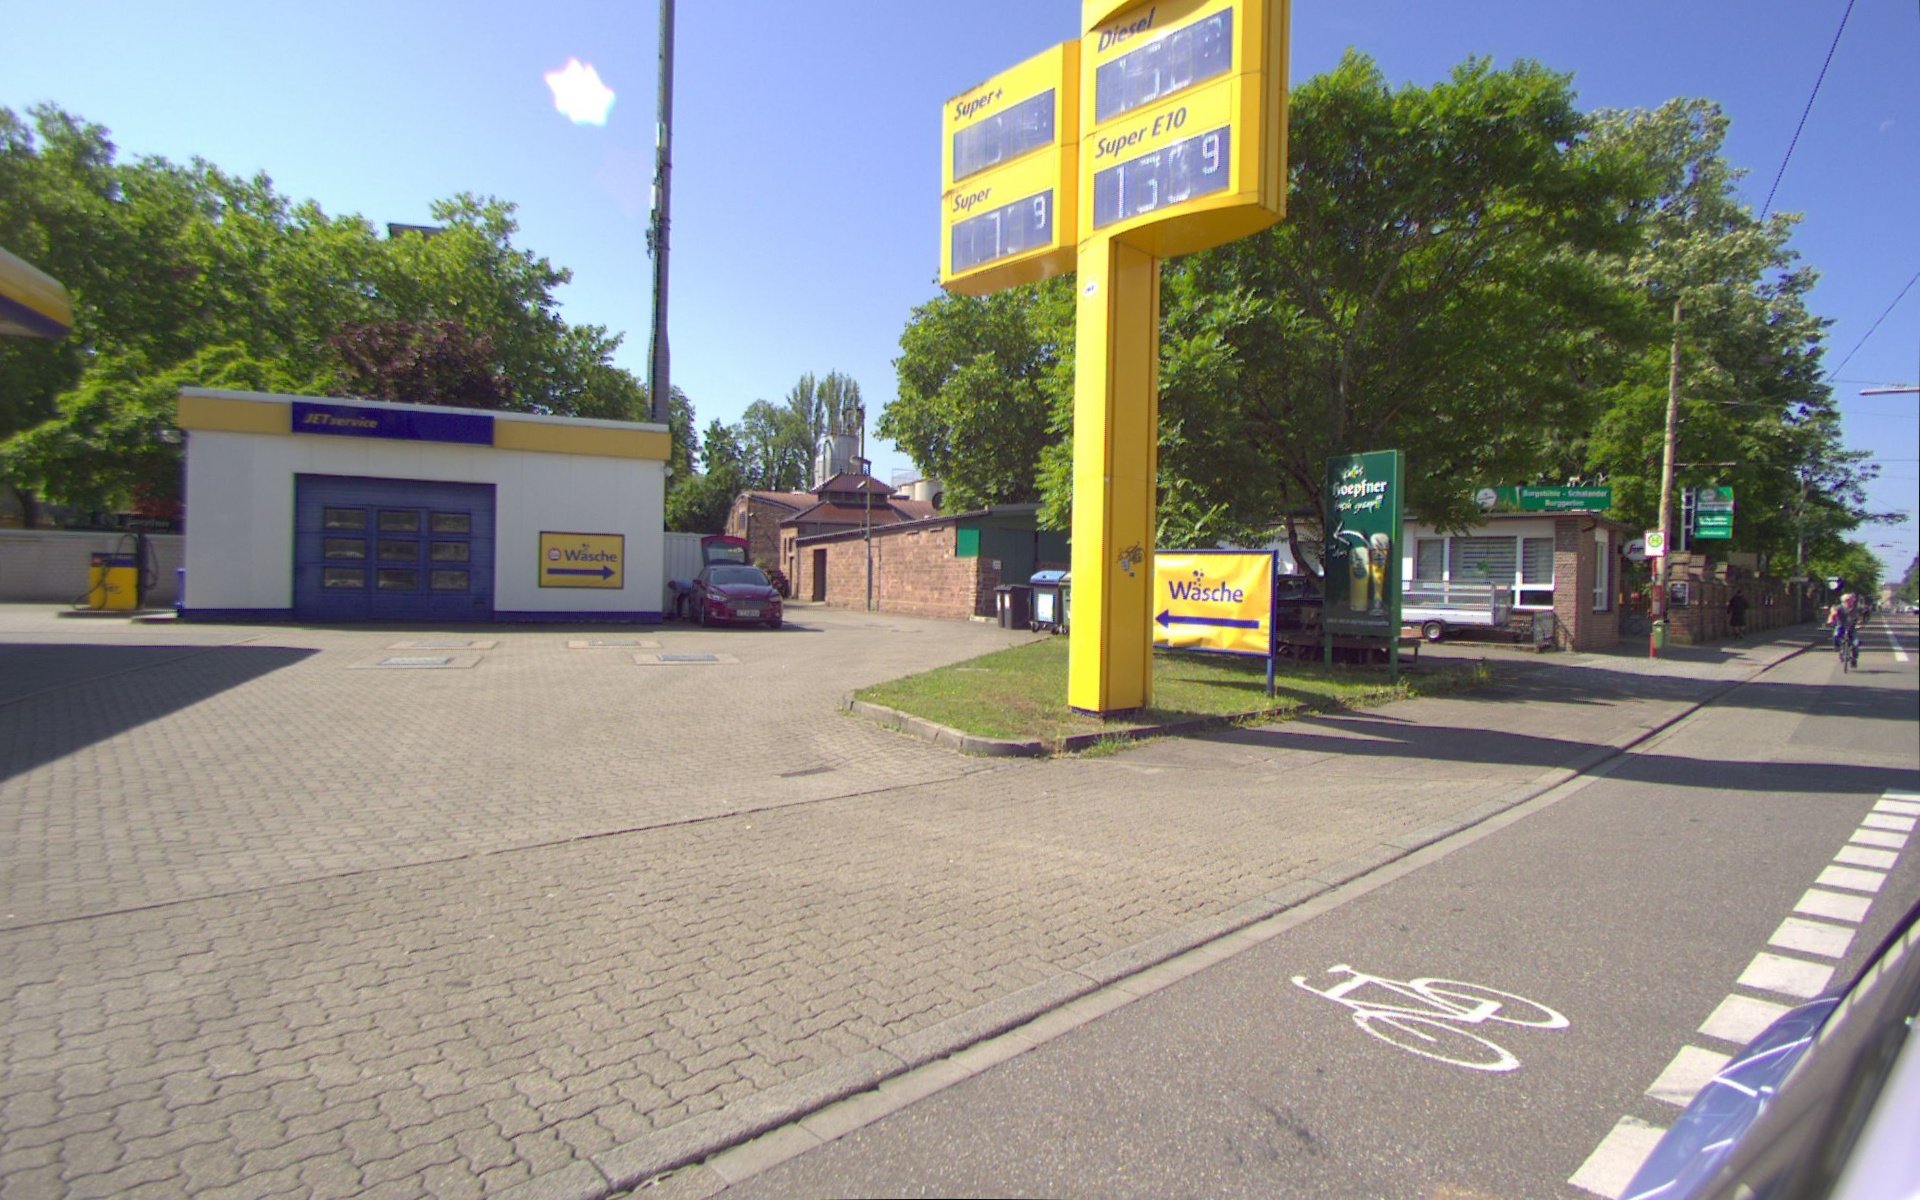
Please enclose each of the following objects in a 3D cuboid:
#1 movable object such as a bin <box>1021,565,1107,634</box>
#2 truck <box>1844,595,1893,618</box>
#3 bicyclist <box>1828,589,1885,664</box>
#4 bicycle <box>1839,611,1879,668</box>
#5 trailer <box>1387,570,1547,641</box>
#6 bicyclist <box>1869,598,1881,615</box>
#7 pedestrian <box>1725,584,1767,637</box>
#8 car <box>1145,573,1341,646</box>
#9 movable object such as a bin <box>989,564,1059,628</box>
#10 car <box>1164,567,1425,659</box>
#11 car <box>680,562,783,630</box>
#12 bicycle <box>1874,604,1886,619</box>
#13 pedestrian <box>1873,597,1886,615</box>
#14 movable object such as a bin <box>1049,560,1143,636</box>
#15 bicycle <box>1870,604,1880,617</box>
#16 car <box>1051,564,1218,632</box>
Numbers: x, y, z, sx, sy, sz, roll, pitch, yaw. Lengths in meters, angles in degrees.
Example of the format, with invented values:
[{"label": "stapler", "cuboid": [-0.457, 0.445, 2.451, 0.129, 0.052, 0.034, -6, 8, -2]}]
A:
[{"label": "movable object such as a bin", "cuboid": [2.375, -0.034, 23.232, 1.352, 1.521, 1.424, 1, 1, -30]}, {"label": "truck", "cuboid": [165.307, 1.195, 184.099, 9.791, 3.908, 2.827, 1, 0, -24]}, {"label": "bicyclist", "cuboid": [19.956, 0.572, 22.518, 0.903, 1.615, 0.949, 1, 0, 43]}, {"label": "bicycle", "cuboid": [20.147, 0.856, 22.673, 0.609, 1.212, 2.091, -2, -2, 42]}, {"label": "trailer", "cuboid": [12.888, 0.101, 25.820, 1.695, 1.623, 3.277, 1, 1, -44]}, {"label": "bicyclist", "cuboid": [83.274, 0.566, 92.059, 0.740, 1.550, 0.932, 2, 1, 44]}, {"label": "pedestrian", "cuboid": [29.104, 0.393, 37.459, 0.977, 1.837, 1.166, 7, 4, 44]}, {"label": "car", "cuboid": [6.457, 0.187, 23.364, 3.922, 1.492, 1.848, 2, 1, -2]}, {"label": "movable object such as a bin", "cuboid": [1.553, -0.116, 24.979, 1.303, 1.521, 1.333, 1, 1, -17]}, {"label": "car", "cuboid": [6.687, 0.232, 20.609, 4.569, 1.661, 2.021, 2, 1, -2]}, {"label": "car", "cuboid": [-5.583, -0.160, 24.276, 1.853, 1.478, 4.567, 0, 2, -20]}, {"label": "bicycle", "cuboid": [108.136, 1.353, 118.900, 0.997, 1.766, 3.113, 0, -1, 43]}, {"label": "pedestrian", "cuboid": [108.092, 0.692, 118.906, 1.103, 2.039, 1.148, 0, -1, 43]}, {"label": "movable object such as a bin", "cuboid": [2.872, -0.059, 21.361, 1.356, 1.521, 1.419, 1, 1, -43]}, {"label": "bicycle", "cuboid": [83.234, 0.979, 92.027, 0.592, 1.119, 2.021, 2, 1, 44]}, {"label": "car", "cuboid": [4.485, -0.067, 26.363, 3.922, 1.576, 1.848, 2, 1, -2]}]
